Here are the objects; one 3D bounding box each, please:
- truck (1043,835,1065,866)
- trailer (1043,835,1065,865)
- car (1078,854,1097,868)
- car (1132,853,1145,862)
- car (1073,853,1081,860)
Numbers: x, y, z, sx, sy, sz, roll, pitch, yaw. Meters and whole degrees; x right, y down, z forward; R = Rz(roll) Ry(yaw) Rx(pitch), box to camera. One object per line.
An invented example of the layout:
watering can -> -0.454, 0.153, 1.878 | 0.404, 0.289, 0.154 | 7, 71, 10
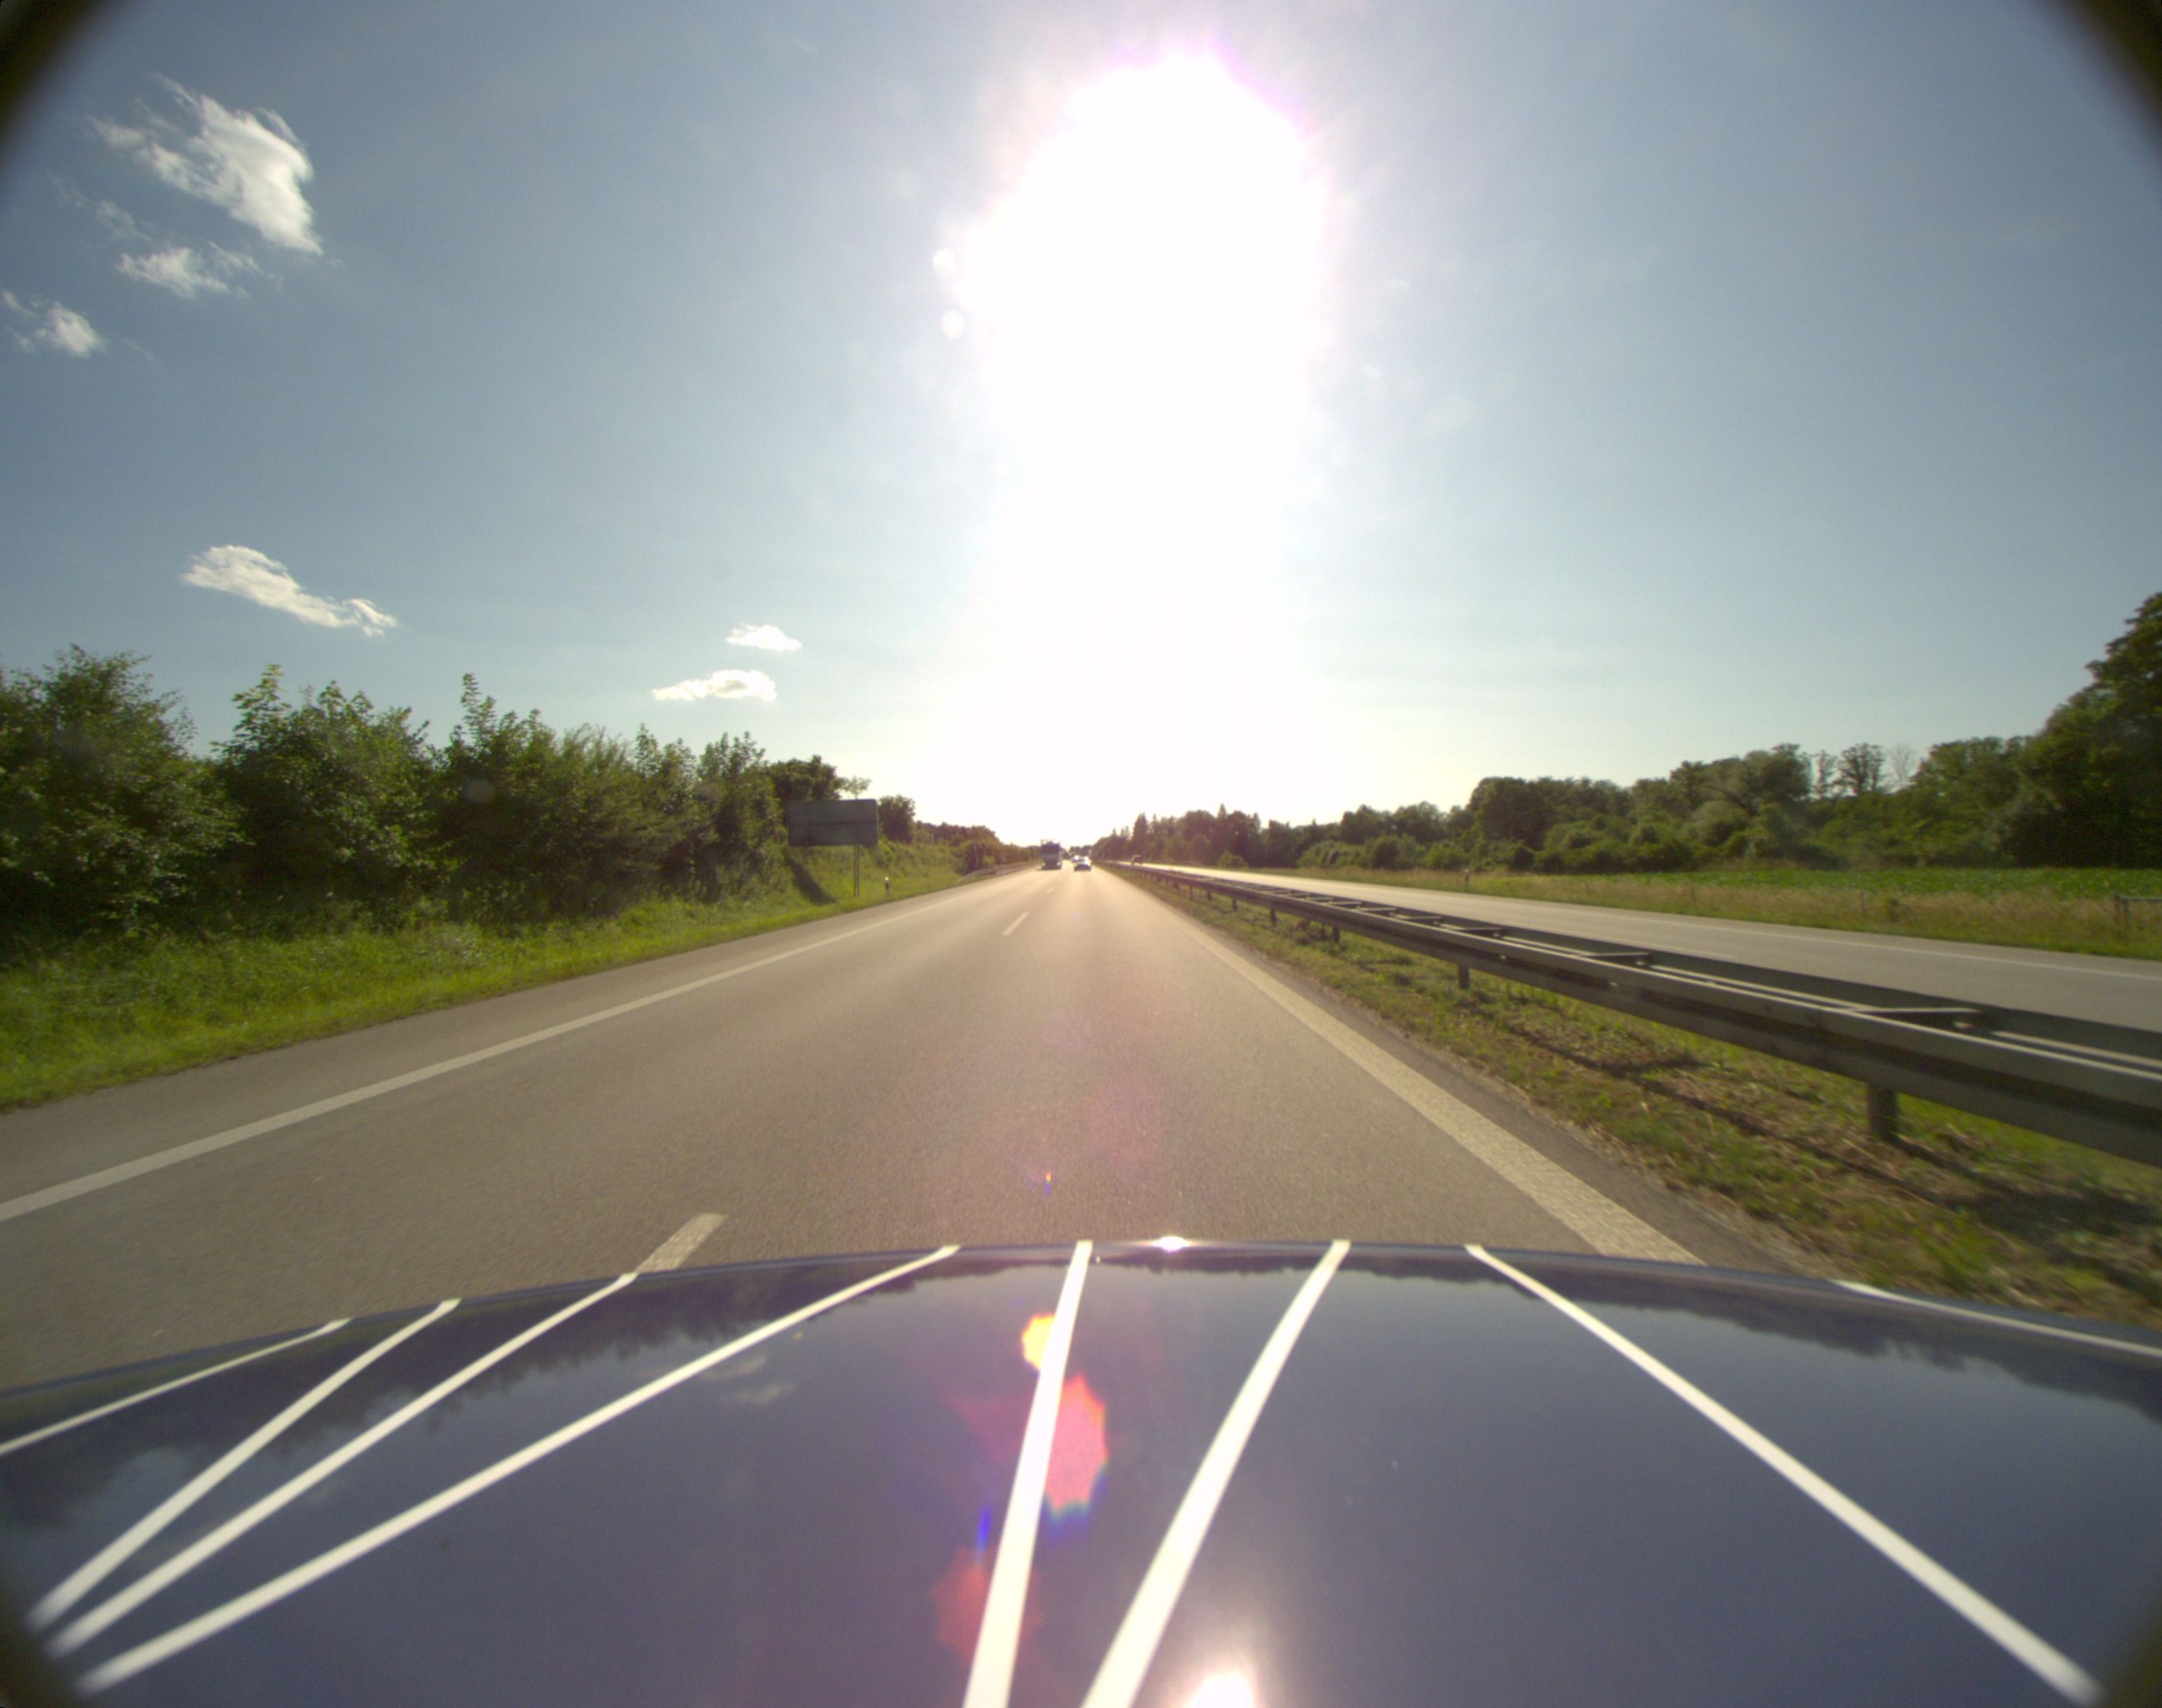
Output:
truck -> -3.588, -0.403, 99.518 | 2.848, 3.943, 7.041 | 0, 0, -3
trailer -> -3.864, -0.484, 106.215 | 2.826, 3.943, 14.156 | 0, 0, -2
car -> 0.630, 0.737, 81.119 | 1.871, 1.514, 4.283 | 1, 0, -1
car -> 10.488, 0.617, 139.476 | 1.998, 1.652, 4.775 | 0, 0, 0
car -> -0.915, 0.627, 180.910 | 1.742, 1.514, 3.998 | -1, 1, -3
